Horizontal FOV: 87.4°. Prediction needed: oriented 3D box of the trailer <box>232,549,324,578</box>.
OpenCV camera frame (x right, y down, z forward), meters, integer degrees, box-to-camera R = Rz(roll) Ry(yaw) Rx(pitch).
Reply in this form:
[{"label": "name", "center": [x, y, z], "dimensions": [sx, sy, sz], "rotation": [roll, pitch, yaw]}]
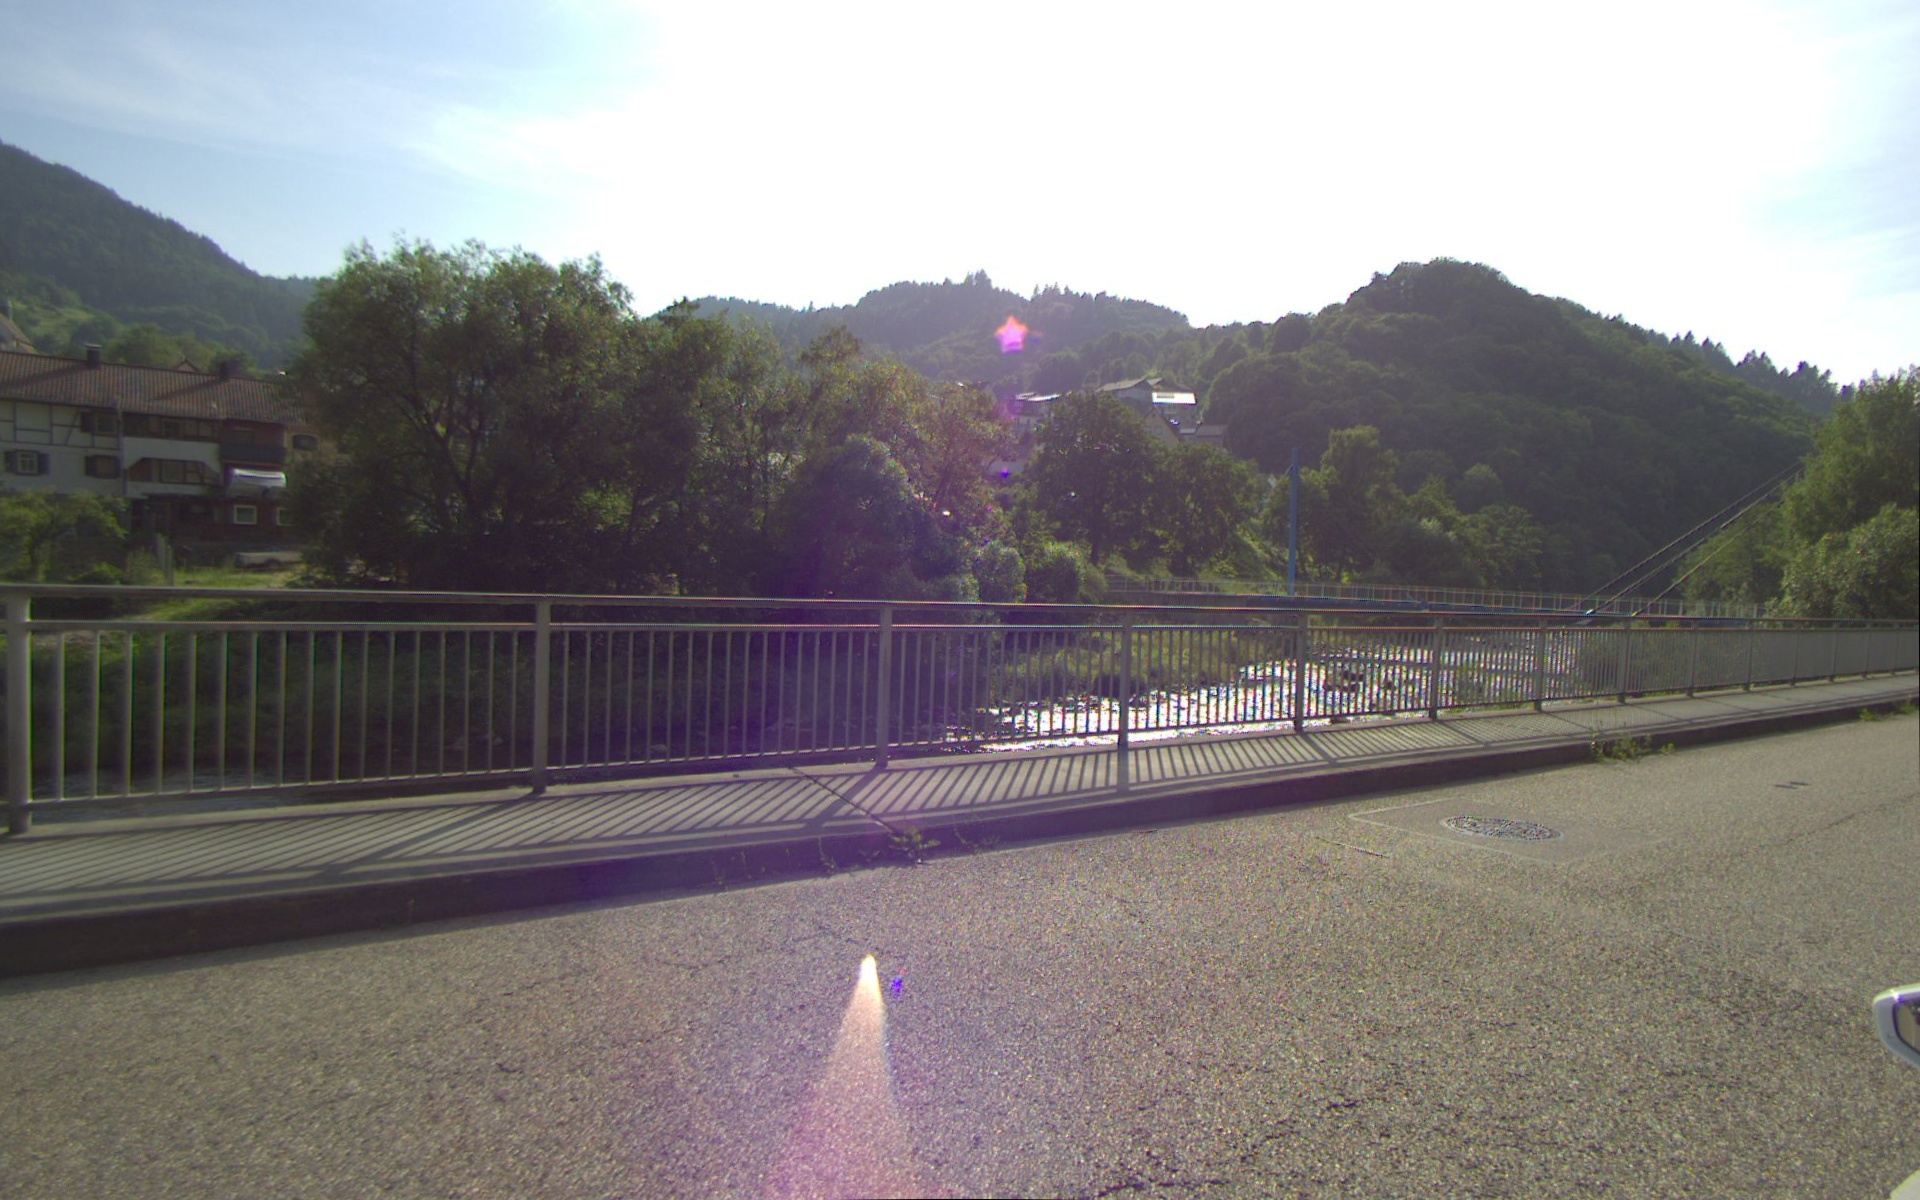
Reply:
[{"label": "trailer", "center": [-35.772, -1.903, 52.751], "dimensions": [1.871, 1.327, 3.678], "rotation": [1, -1, 43]}]
